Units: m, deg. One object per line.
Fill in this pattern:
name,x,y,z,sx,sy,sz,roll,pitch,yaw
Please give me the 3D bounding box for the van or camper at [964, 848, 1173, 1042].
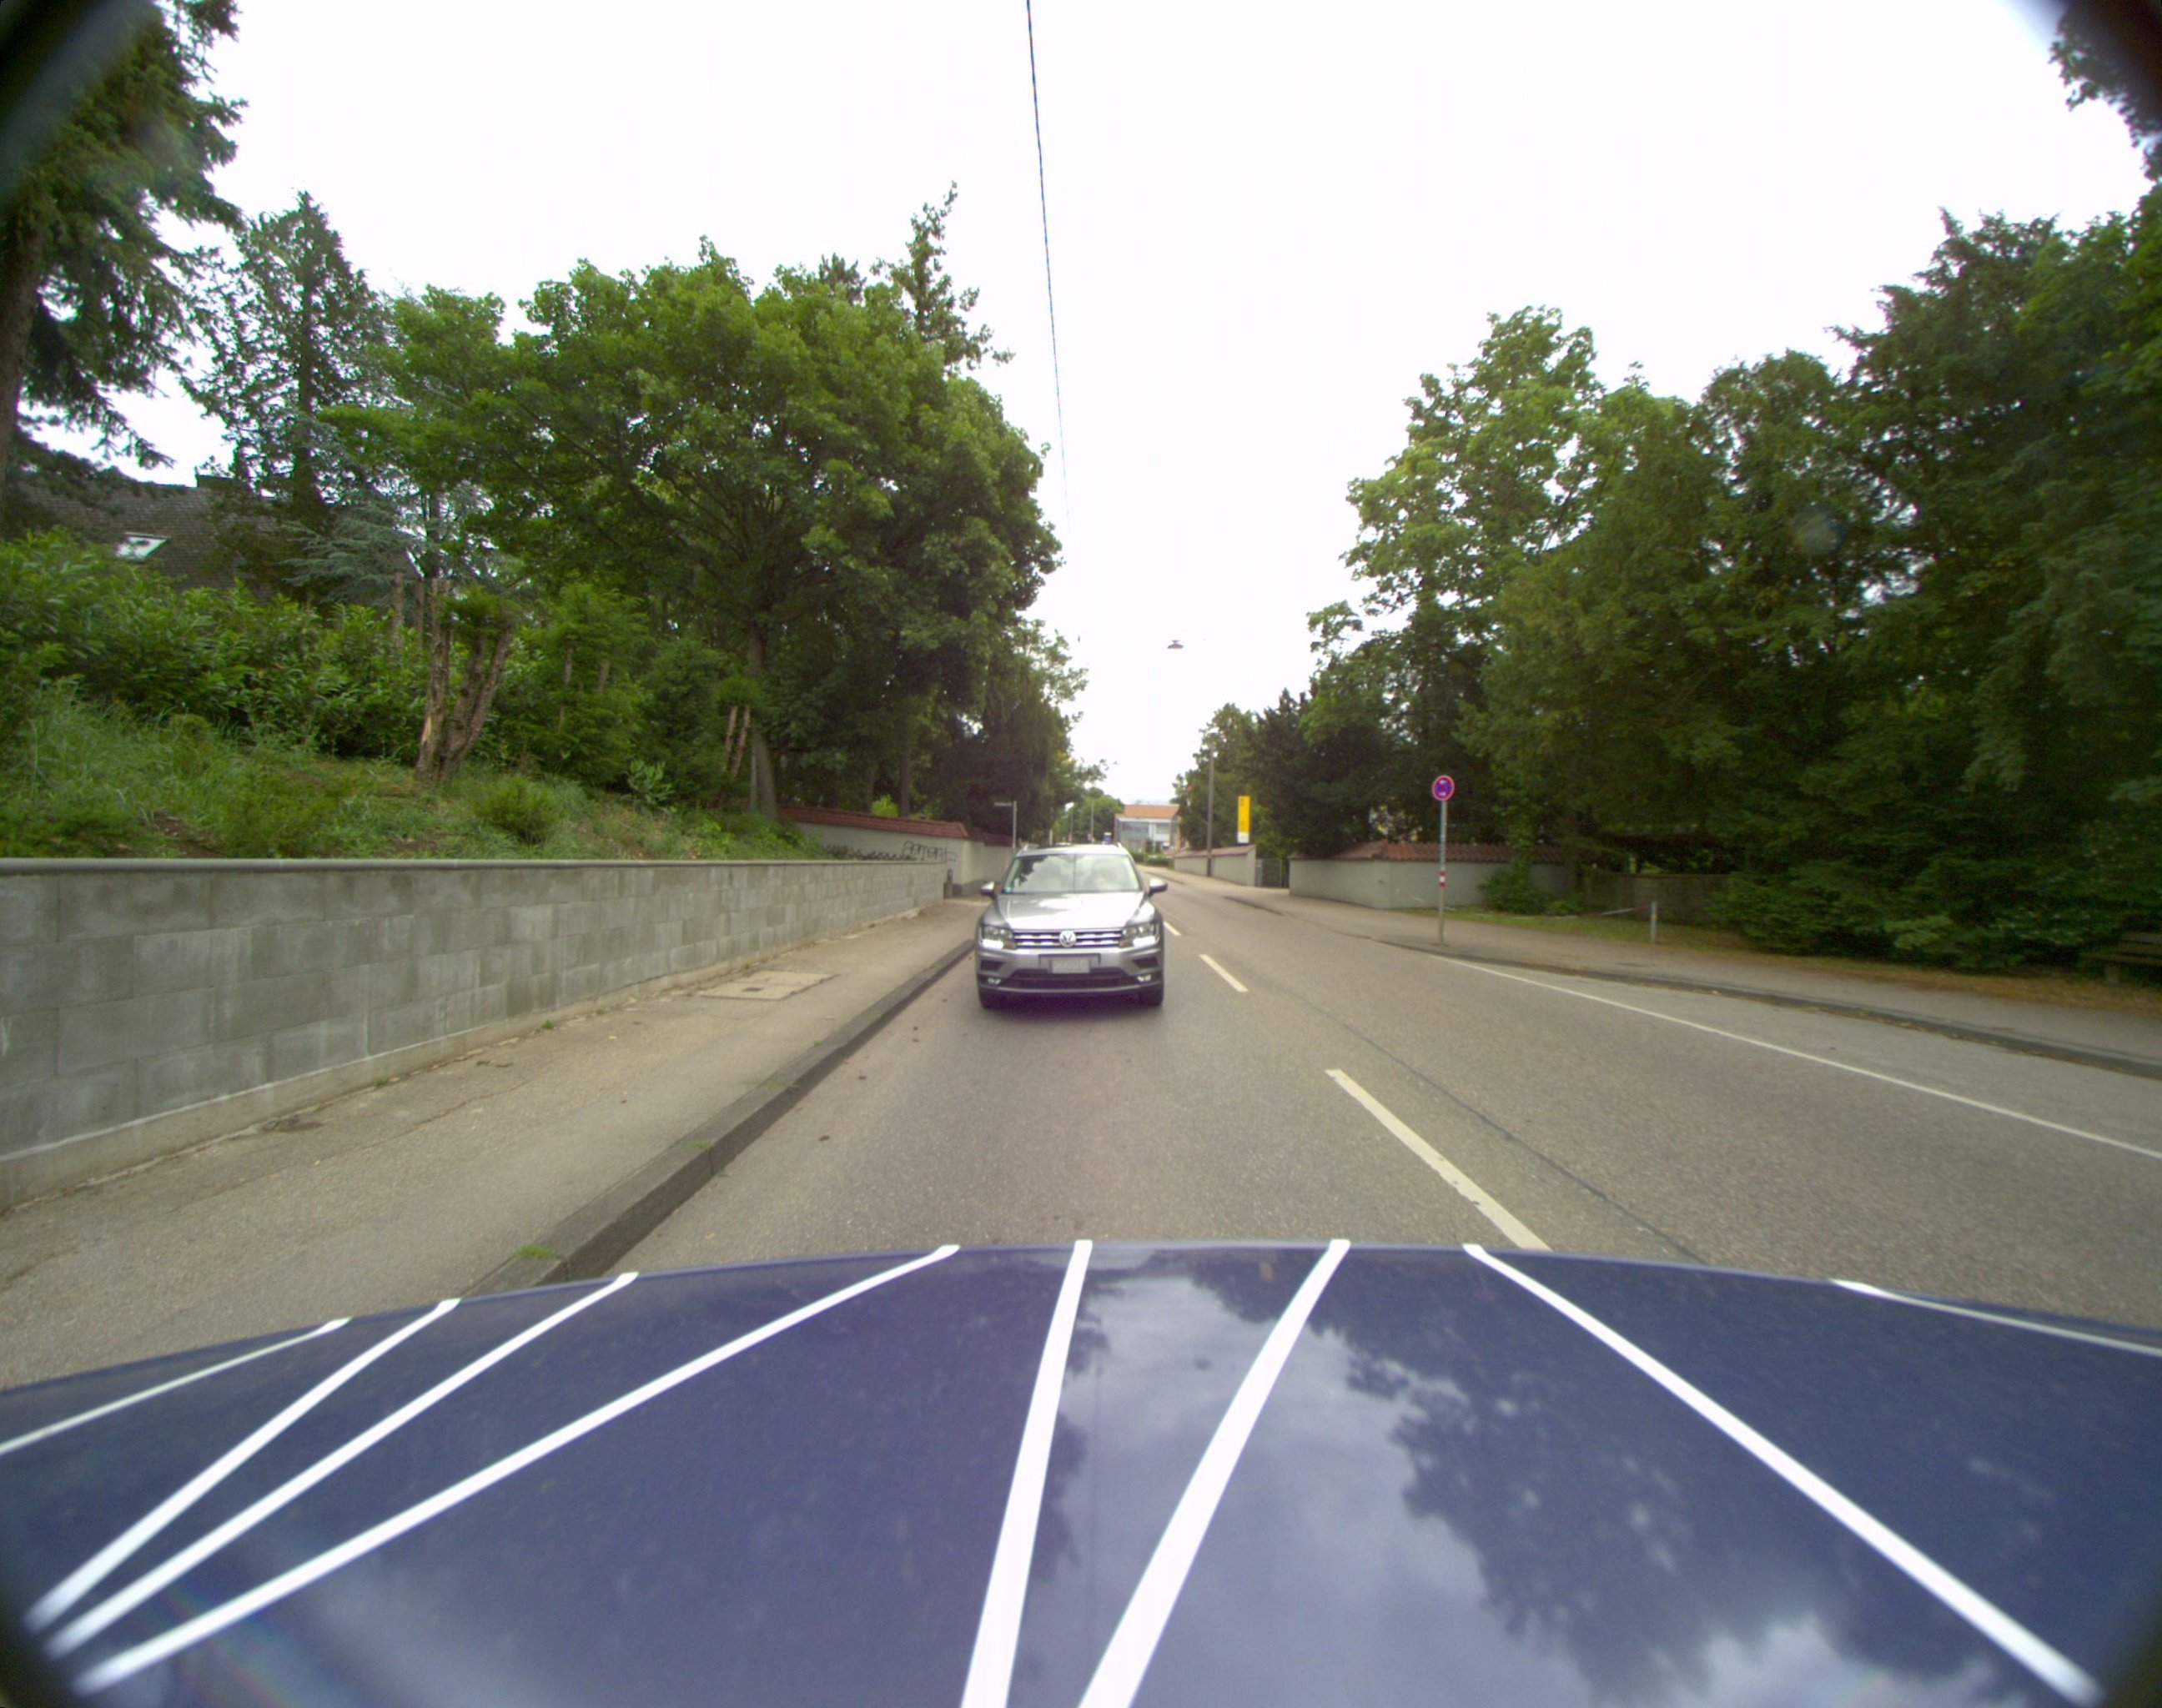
van or camper,-0.082,0.773,8.650,1.800,1.663,4.198,0,0,1
